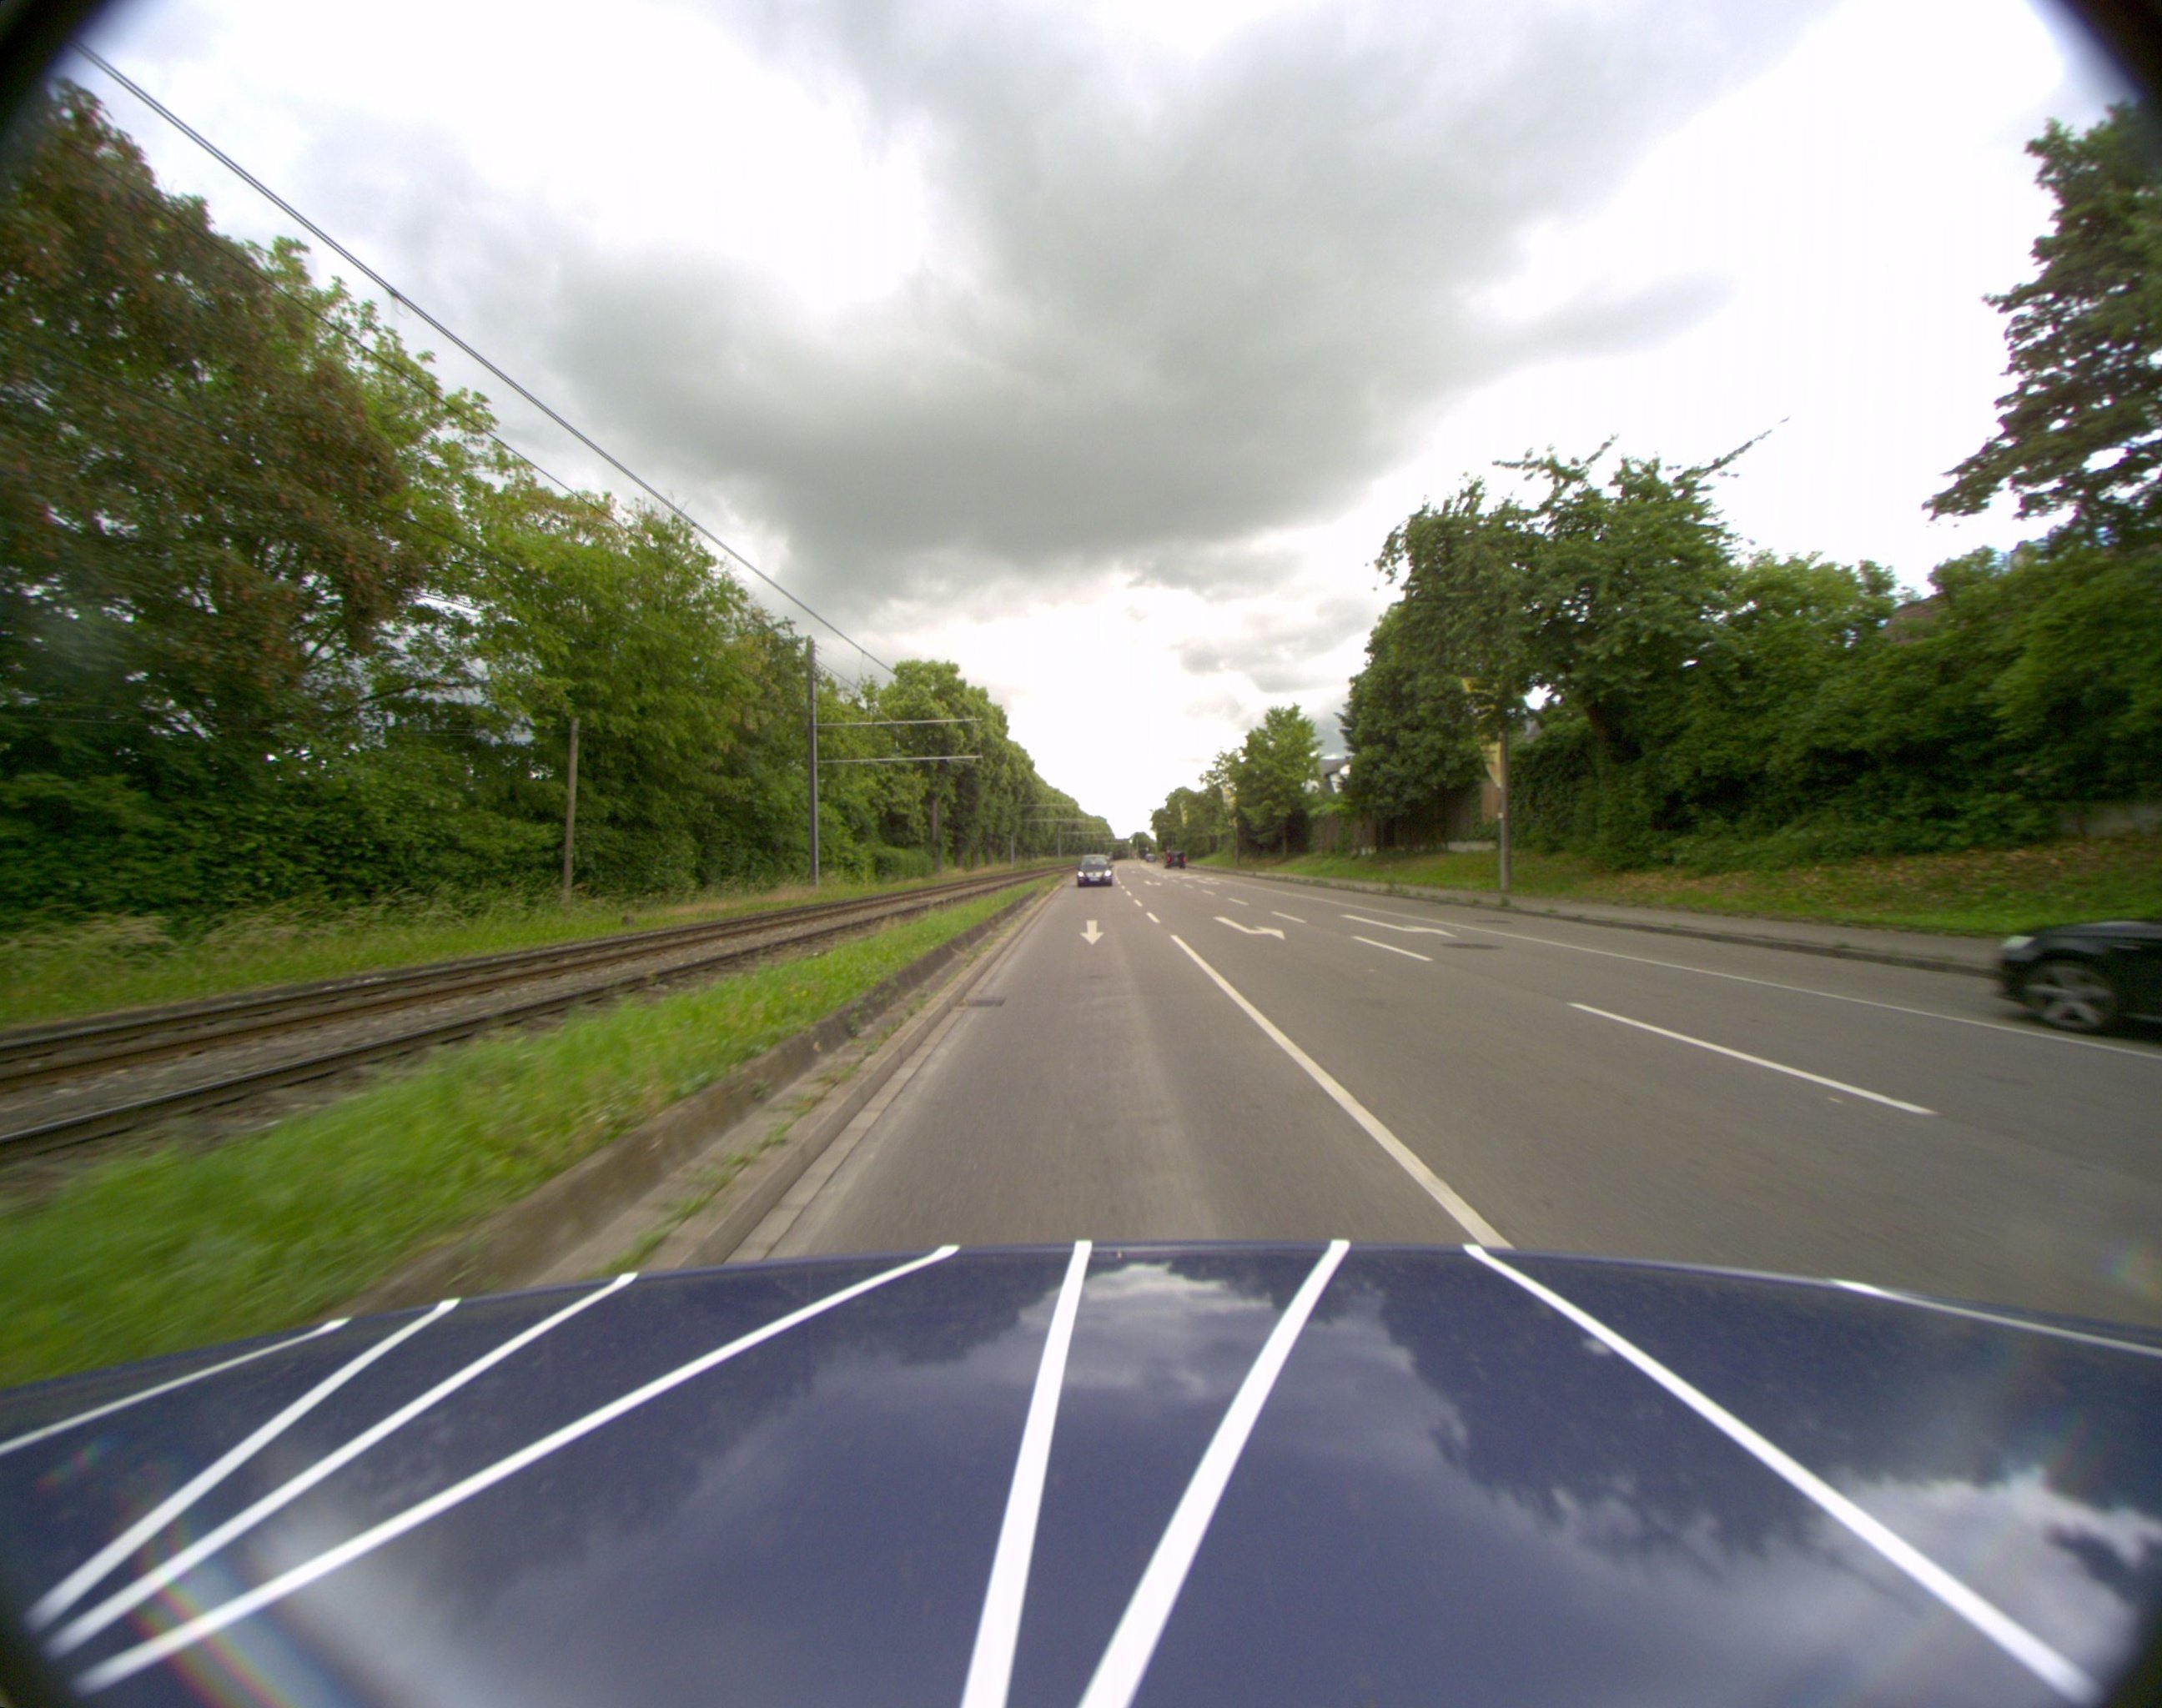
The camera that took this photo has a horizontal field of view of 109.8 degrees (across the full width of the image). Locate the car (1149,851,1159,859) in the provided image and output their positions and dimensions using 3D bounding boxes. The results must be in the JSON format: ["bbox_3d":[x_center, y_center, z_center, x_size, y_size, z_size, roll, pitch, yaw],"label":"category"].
[{"bbox_3d":[13.951,0.246,145.162,1.657,1.414,4.008,1,1,2],"label":"car"}]

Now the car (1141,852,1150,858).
[{"bbox_3d":[15.635,0.206,184.556,1.807,1.520,3.929,-3,0,2],"label":"car"}]

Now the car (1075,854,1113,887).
[{"bbox_3d":[0.730,0.818,39.203,1.807,1.520,3.929,-3,0,2],"label":"car"}]

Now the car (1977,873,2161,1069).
[{"bbox_3d":[8.681,0.866,4.756,1.634,1.387,3.833,-1,0,0],"label":"car"}]

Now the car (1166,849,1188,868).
[{"bbox_3d":[10.043,0.481,79.799,1.808,1.893,4.689,0,0,0],"label":"car"}]
